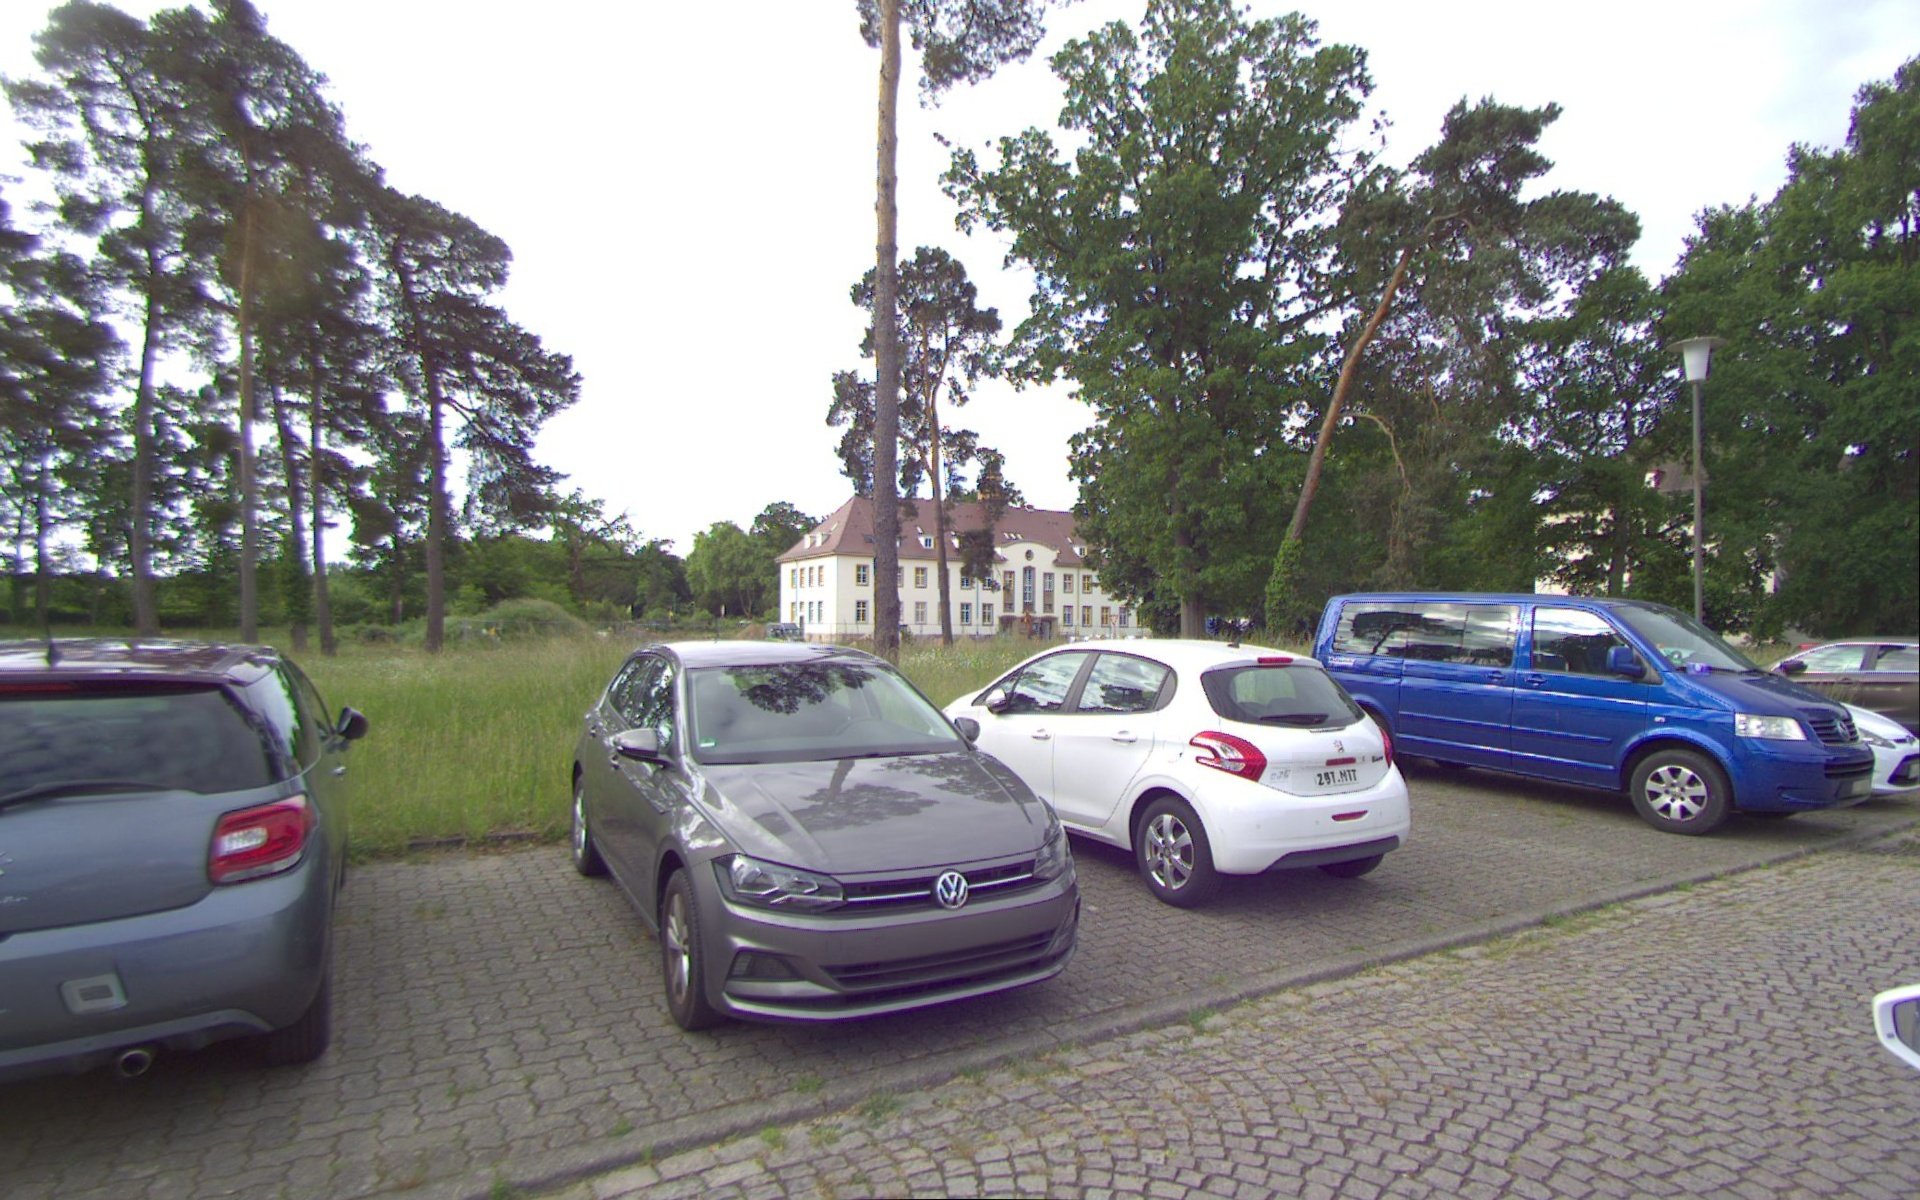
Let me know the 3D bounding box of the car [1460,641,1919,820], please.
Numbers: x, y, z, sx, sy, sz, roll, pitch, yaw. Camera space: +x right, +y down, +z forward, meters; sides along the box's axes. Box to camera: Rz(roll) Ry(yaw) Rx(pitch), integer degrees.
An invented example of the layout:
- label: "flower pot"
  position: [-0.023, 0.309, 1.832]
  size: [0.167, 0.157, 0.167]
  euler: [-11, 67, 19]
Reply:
- label: "car"
  position: [8.032, 1.253, 11.165]
  size: [1.762, 1.530, 4.142]
  euler: [1, -2, -33]

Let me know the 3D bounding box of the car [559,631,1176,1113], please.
- label: "car"
  position: [-0.916, 0.939, 5.480]
  size: [1.842, 1.511, 4.148]
  euler: [1, -2, -29]

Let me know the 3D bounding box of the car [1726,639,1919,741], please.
- label: "car"
  position: [15.325, 1.434, 16.375]
  size: [1.886, 1.530, 4.144]
  euler: [1, -2, -32]

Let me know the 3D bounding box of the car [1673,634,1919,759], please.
- label: "car"
  position: [13.196, 1.336, 14.653]
  size: [1.966, 1.643, 4.142]
  euler: [1, -2, -33]

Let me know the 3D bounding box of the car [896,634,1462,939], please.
- label: "car"
  position: [1.239, 1.029, 7.351]
  size: [1.824, 1.517, 4.049]
  euler: [1, -2, -30]

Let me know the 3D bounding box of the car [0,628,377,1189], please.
- label: "car"
  position: [-3.693, 0.888, 4.493]
  size: [1.824, 1.501, 4.147]
  euler: [1, -2, -30]

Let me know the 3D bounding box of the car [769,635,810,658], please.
- label: "car"
  position: [-17.144, 4.666, 100.771]
  size: [1.983, 2.229, 4.983]
  euler: [2, -2, -38]

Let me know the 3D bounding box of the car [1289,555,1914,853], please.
- label: "car"
  position: [5.836, 0.825, 9.864]
  size: [2.091, 2.150, 4.757]
  euler: [1, -2, -31]

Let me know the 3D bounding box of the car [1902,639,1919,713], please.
- label: "car"
  position: [21.870, 1.578, 20.123]
  size: [1.884, 1.545, 4.033]
  euler: [1, -2, -32]
